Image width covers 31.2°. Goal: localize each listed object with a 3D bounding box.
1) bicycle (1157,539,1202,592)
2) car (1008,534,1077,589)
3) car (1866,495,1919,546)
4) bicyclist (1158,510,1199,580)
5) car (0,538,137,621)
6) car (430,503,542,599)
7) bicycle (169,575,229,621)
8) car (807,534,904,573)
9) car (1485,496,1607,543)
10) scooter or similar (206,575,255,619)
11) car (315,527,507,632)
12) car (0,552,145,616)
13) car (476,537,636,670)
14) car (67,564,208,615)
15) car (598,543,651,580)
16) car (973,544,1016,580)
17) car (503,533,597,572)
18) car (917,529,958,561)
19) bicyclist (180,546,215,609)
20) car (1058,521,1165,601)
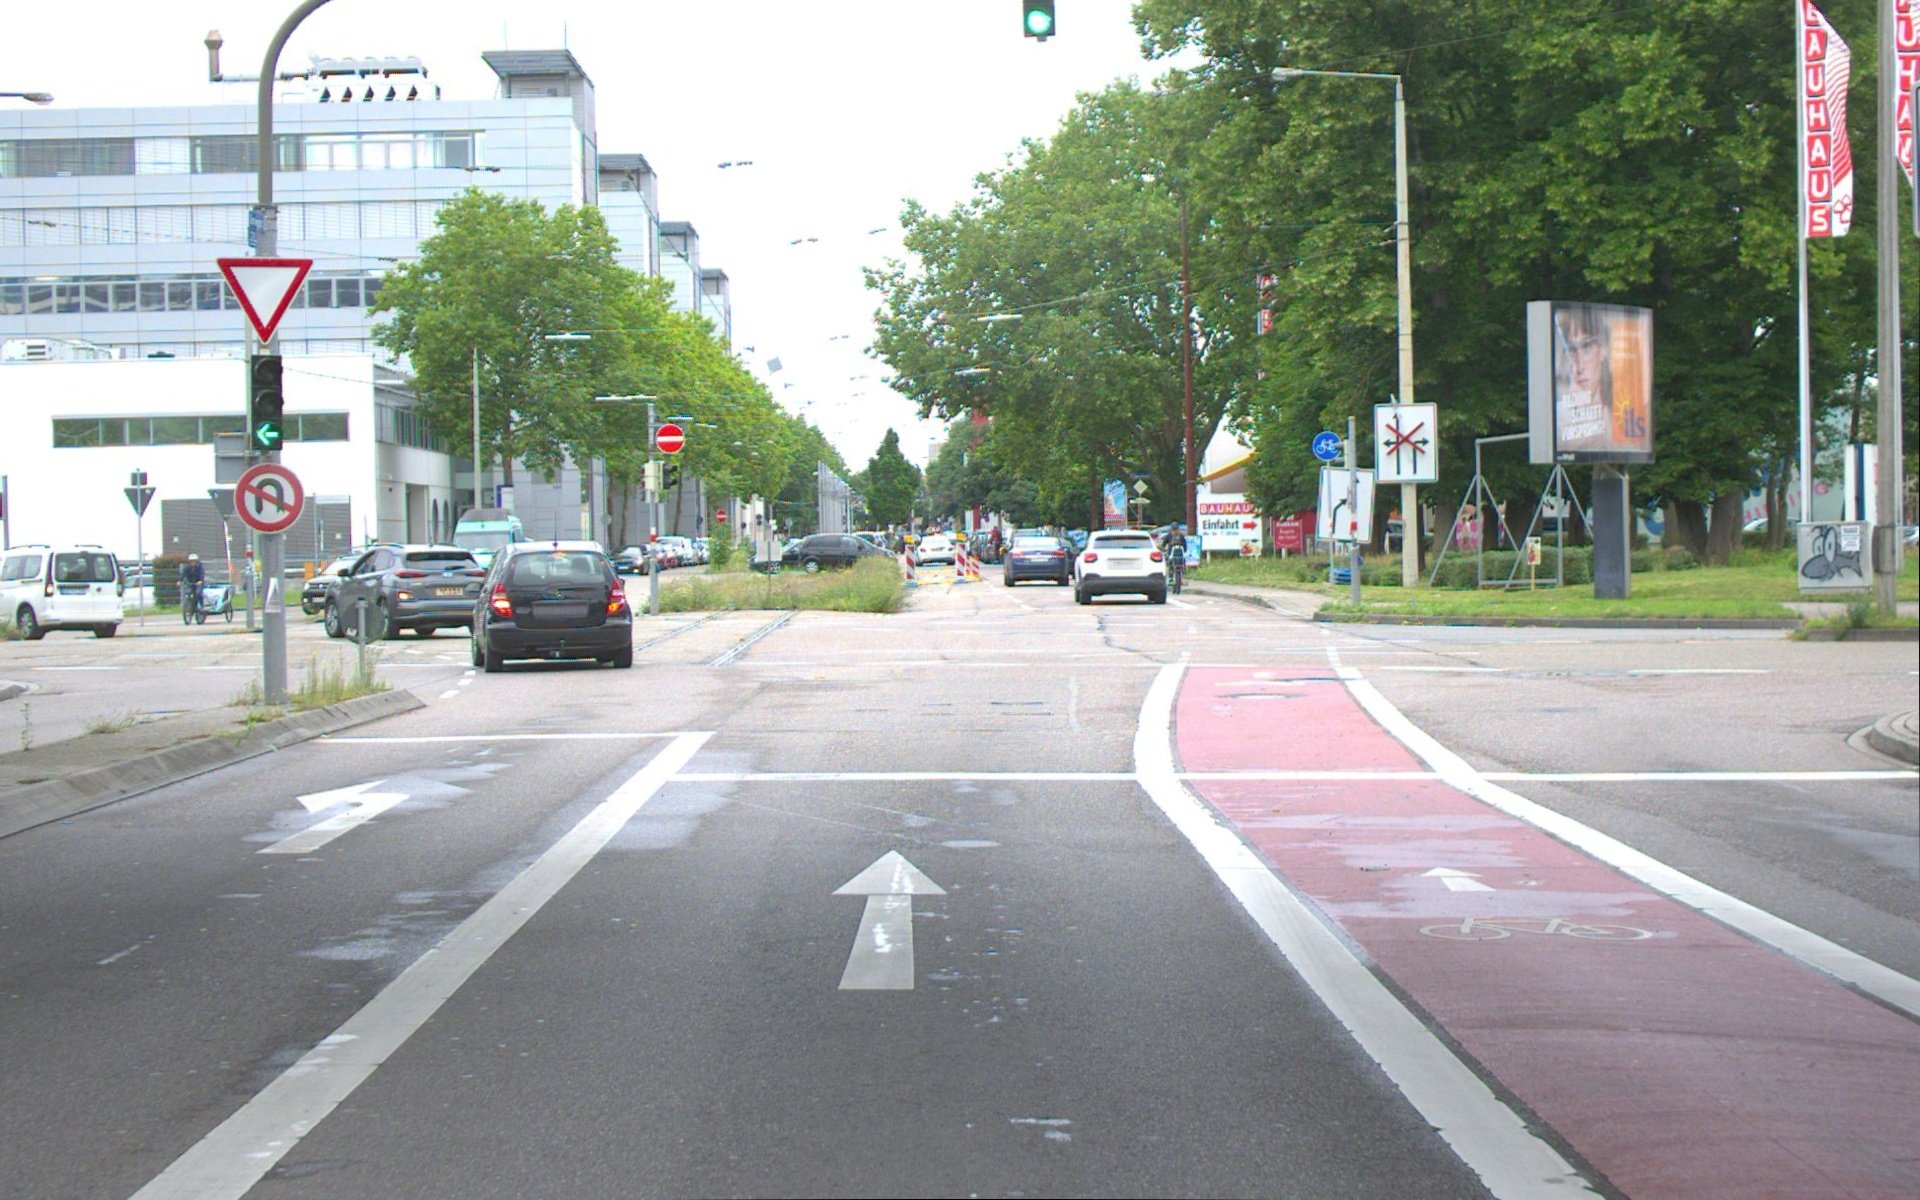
[{"bbox_3d":[5.216,-0.830,81.801,0.816,1.208,2.683,-2,1,-1],"label":"bicycle"},{"bbox_3d":[2.363,-1.123,99.183,1.684,1.508,3.706,0,2,-4],"label":"car"},{"bbox_3d":[29.422,-2.332,101.939,4.530,1.492,1.960,0,1,-5],"label":"car"},{"bbox_3d":[5.199,-1.311,81.790,0.816,1.624,1.235,-2,1,-1],"label":"bicyclist"},{"bbox_3d":[-18.266,-0.434,67.454,1.963,1.522,5.008,-1,2,-42],"label":"car"},{"bbox_3d":[-14.608,-1.521,106.195,2.328,2.816,5.949,-2,1,2],"label":"car"},{"bbox_3d":[-18.589,-0.055,84.006,0.646,1.058,2.000,1,2,13],"label":"bicycle"},{"bbox_3d":[-4.208,-1.877,138.751,3.883,1.550,1.825,0,1,-1],"label":"car"},{"bbox_3d":[23.694,-3.254,139.151,4.553,1.784,2.074,-1,2,-1],"label":"car"},{"bbox_3d":[-18.189,-0.074,85.690,0.646,1.058,1.449,1,2,13],"label":"scooter or similar"},{"bbox_3d":[-9.130,-0.369,56.979,1.773,1.647,3.669,-1,2,-33],"label":"car"},{"bbox_3d":[-23.129,-0.409,88.698,3.660,1.522,1.773,-1,1,18],"label":"car"},{"bbox_3d":[-4.918,0.002,42.218,1.768,1.522,3.670,0,2,-4],"label":"car"},{"bbox_3d":[-29.203,-0.367,122.163,4.526,1.628,1.913,-2,1,-3],"label":"car"},{"bbox_3d":[-14.836,-1.697,152.167,1.819,1.470,4.130,-2,0,1],"label":"car"},{"bbox_3d":[1.668,-1.866,167.766,1.877,1.627,4.001,-2,1,-2],"label":"car"},{"bbox_3d":[-20.191,-2.347,169.406,4.411,1.777,1.826,-2,1,-2],"label":"car"},{"bbox_3d":[-1.110,-2.695,166.982,1.795,1.508,3.706,0,2,-4],"label":"car"},{"bbox_3d":[-18.603,-0.547,83.887,0.646,1.513,0.626,1,2,13],"label":"bicyclist"},{"bbox_3d":[3.112,-0.832,71.271,1.823,1.594,3.776,0,2,-4],"label":"car"}]
